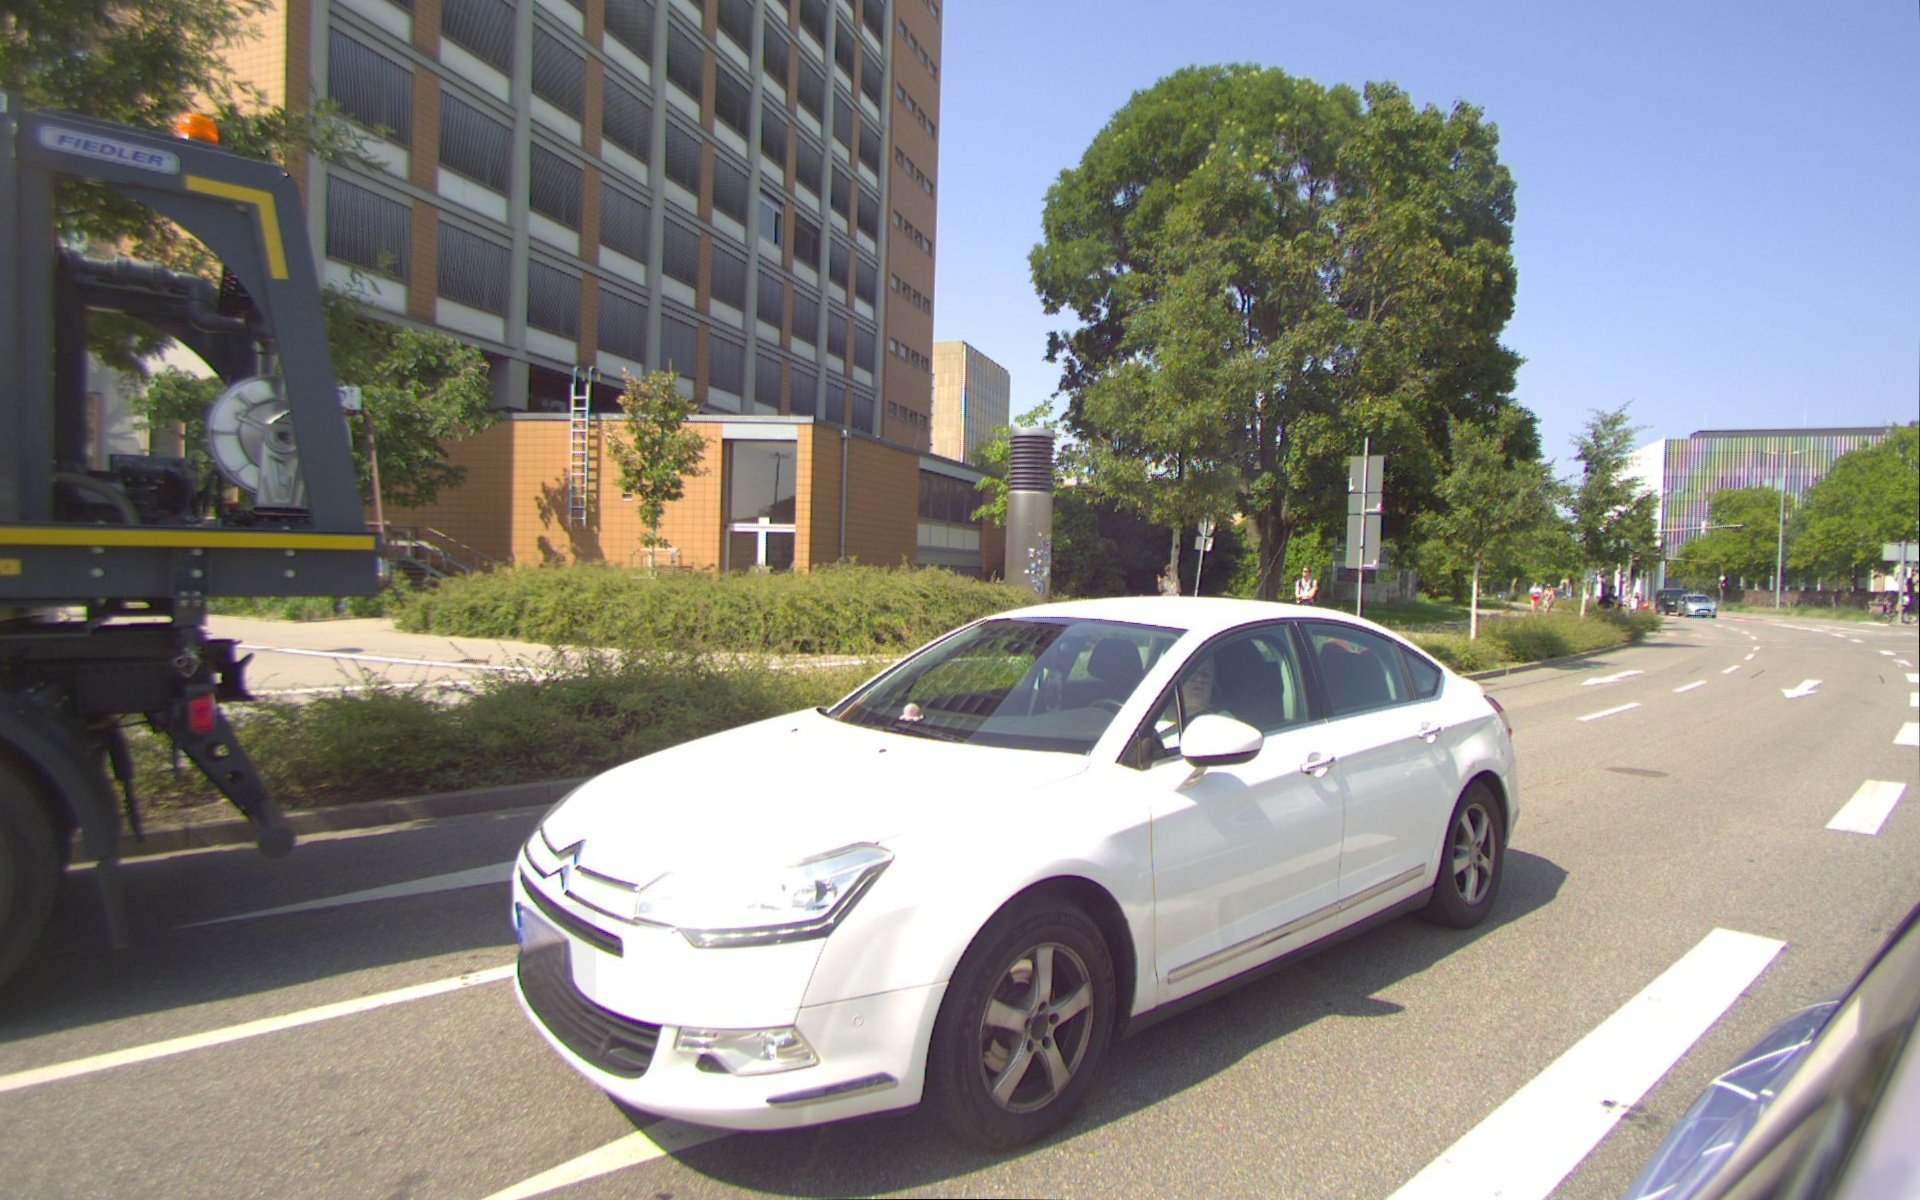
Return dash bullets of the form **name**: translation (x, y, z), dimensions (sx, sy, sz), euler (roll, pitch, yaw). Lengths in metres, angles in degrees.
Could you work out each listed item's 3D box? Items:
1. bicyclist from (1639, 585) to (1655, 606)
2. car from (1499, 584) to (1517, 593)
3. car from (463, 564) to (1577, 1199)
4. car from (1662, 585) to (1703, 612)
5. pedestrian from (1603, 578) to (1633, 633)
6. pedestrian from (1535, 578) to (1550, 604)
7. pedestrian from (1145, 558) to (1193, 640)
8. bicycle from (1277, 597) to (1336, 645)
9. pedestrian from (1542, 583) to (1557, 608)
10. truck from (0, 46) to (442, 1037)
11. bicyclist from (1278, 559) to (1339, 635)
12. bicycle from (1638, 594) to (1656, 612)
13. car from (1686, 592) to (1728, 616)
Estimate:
- **bicyclist**: translation (47.042, -0.312, 69.269), dimensions (1.032, 1.417, 0.678), euler (0, 2, -45)
- **car**: translation (98.988, -2.071, 182.802), dimensions (1.849, 1.549, 4.509), euler (2, 2, 17)
- **car**: translation (0.647, 0.634, 4.128), dimensions (4.527, 1.446, 1.773), euler (0, 2, -39)
- **car**: translation (53.895, -0.130, 75.573), dimensions (1.874, 1.943, 4.489), euler (1, 1, 28)
- **pedestrian**: translation (23.562, 0.202, 36.231), dimensions (0.818, 1.926, 0.622), euler (2, 1, 37)
- **pedestrian**: translation (30.451, -0.467, 52.937), dimensions (0.628, 1.315, 0.483), euler (0, 0, 25)
- **pedestrian**: translation (4.523, -0.038, 21.879), dimensions (0.670, 1.720, 0.793), euler (2, 1, 43)
- **bicycle**: translation (7.566, 0.442, 22.069), dimensions (1.751, 0.992, 0.357), euler (0, 2, -41)
- **pedestrian**: translation (30.677, -0.230, 52.698), dimensions (0.611, 1.315, 0.434), euler (0, 0, 24)
- **truck**: translation (-5.468, -0.191, 2.916), dimensions (6.736, 3.174, 2.498), euler (0, 0, -39)
- **bicyclist**: translation (7.625, -0.078, 22.156), dimensions (0.909, 1.625, 0.903), euler (0, 2, -43)
- **bicycle**: translation (47.083, 0.217, 69.357), dimensions (2.199, 1.183, 0.593), euler (0, 2, -45)
- **car**: translation (50.876, 0.238, 68.982), dimensions (1.644, 1.550, 4.489), euler (0, 0, 28)
